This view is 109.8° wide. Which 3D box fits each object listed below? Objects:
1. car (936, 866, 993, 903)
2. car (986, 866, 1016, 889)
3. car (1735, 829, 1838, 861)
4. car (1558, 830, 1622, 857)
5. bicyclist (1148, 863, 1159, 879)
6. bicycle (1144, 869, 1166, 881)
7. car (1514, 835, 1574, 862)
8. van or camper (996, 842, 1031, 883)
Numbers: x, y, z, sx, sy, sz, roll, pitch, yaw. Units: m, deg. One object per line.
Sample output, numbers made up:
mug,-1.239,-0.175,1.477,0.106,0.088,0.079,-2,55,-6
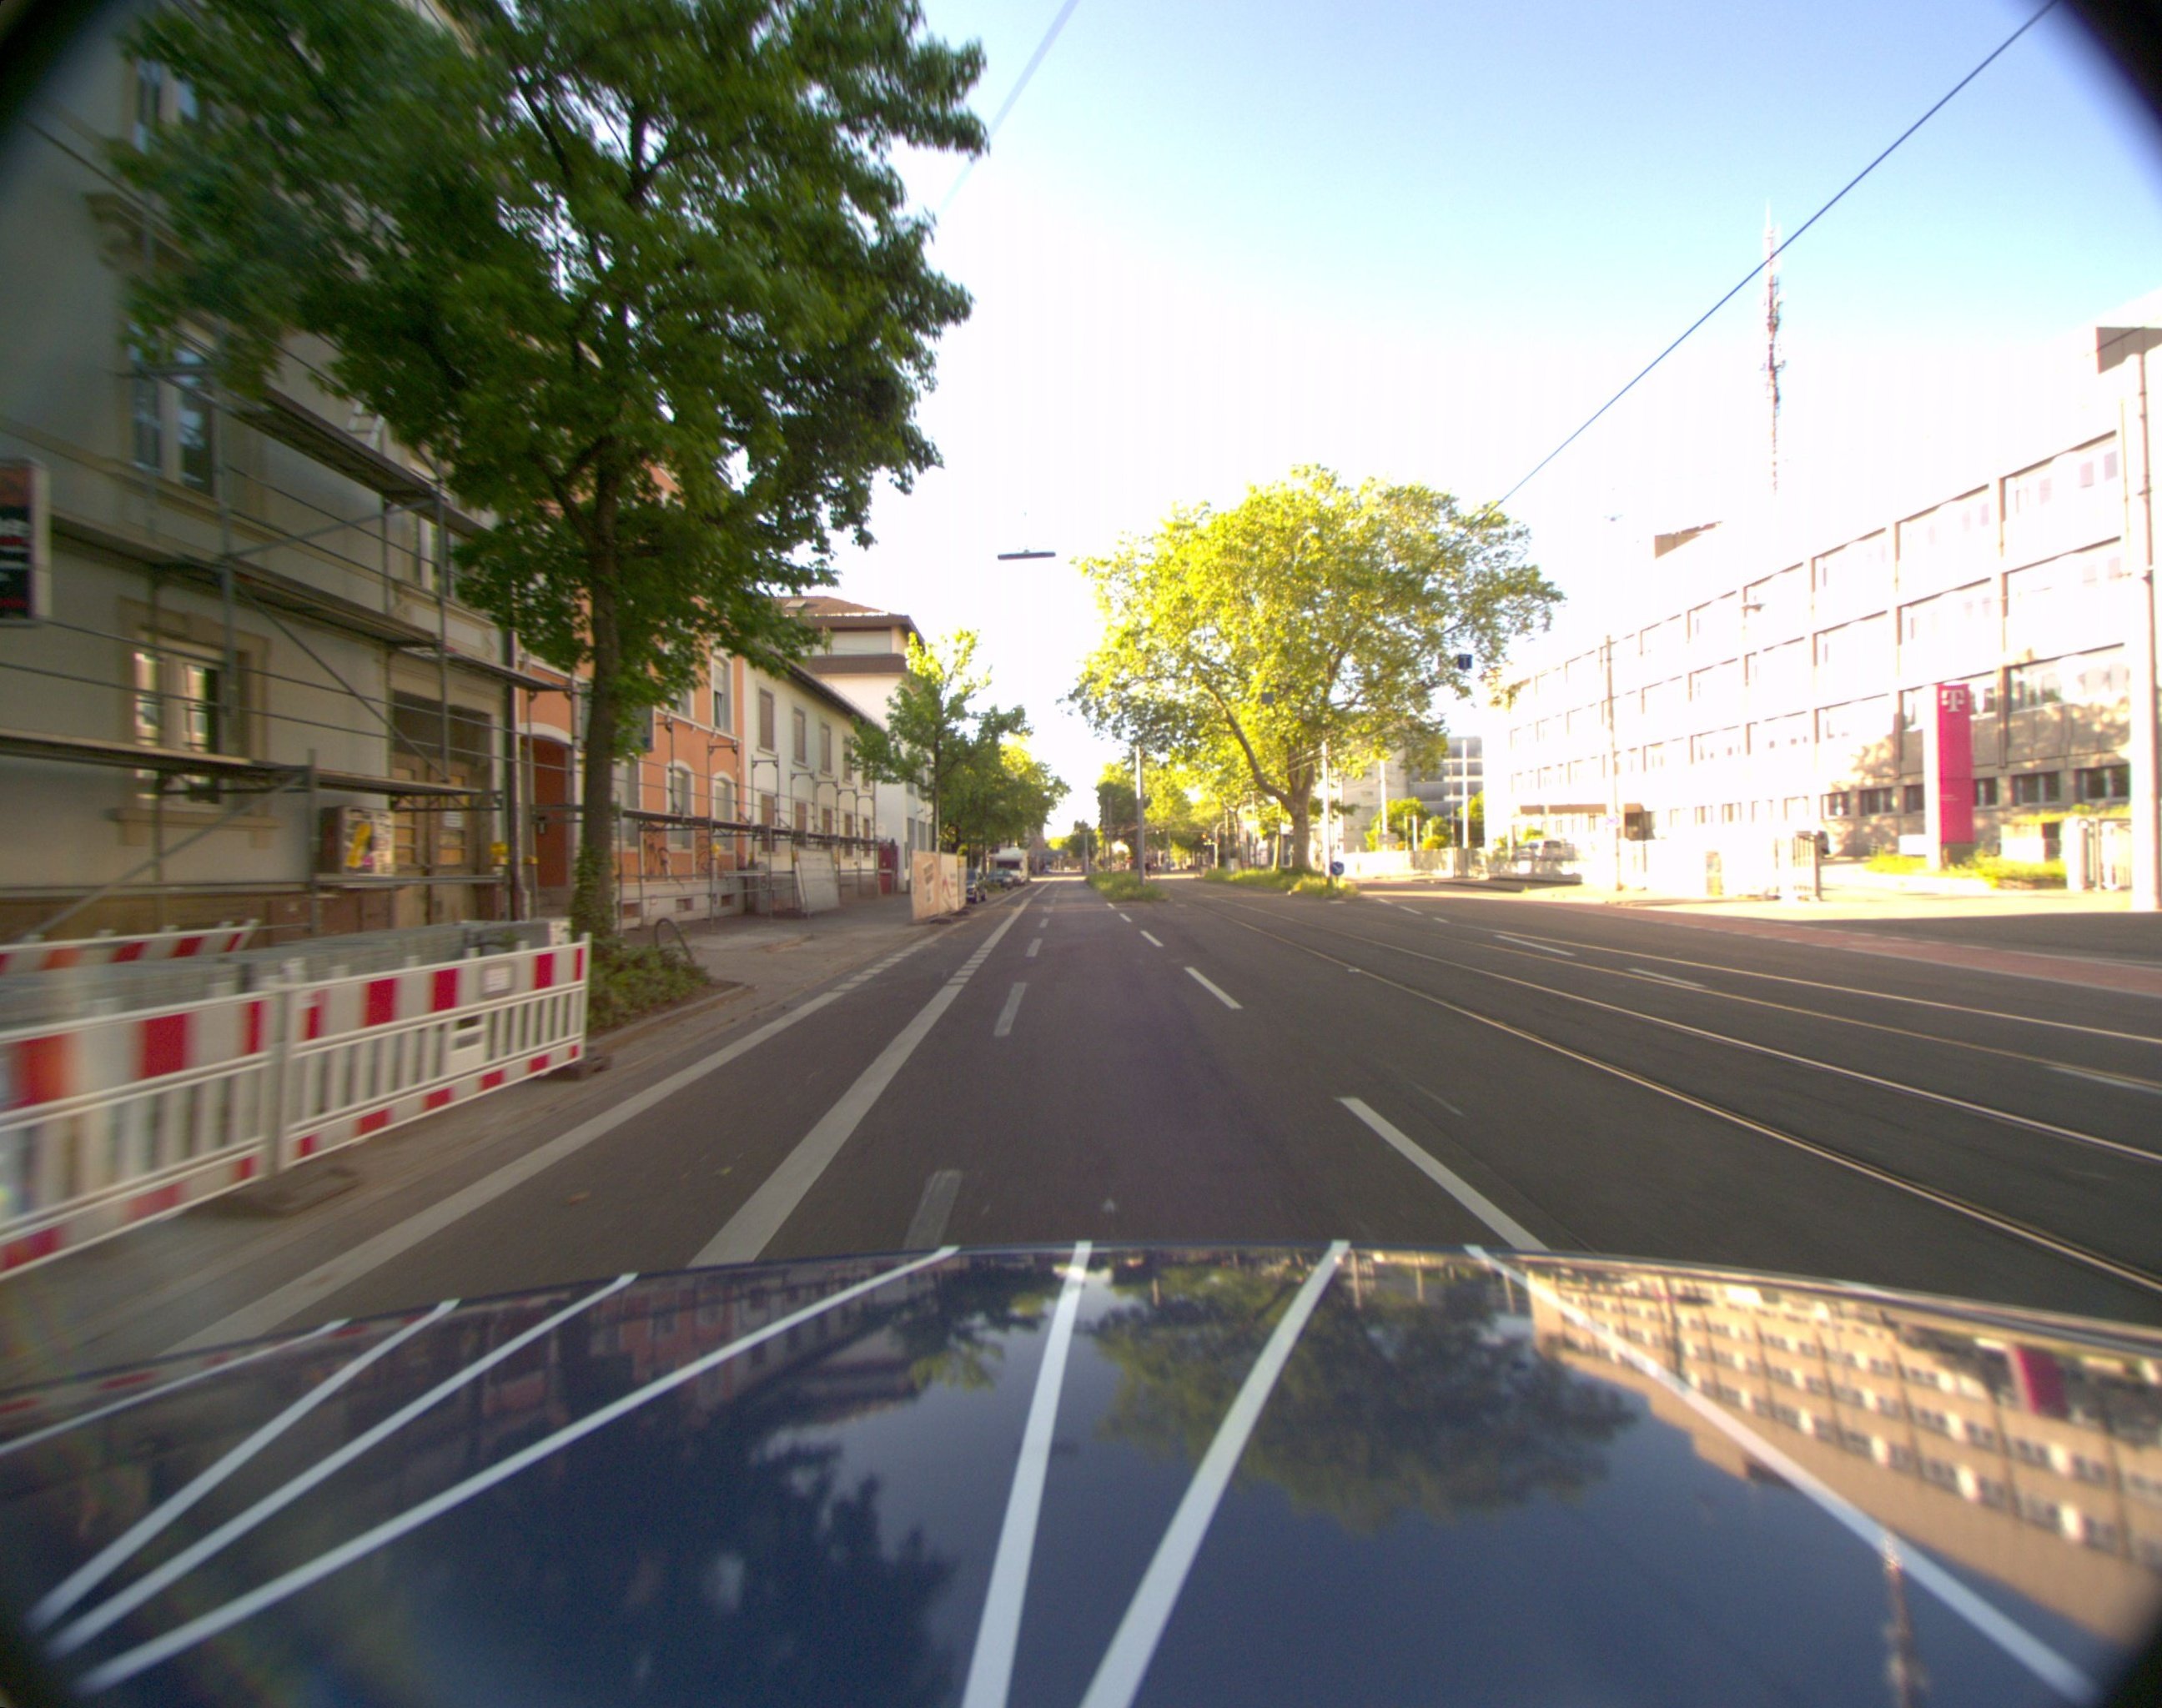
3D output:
car,-5.022,1.283,33.238,1.767,1.475,4.110,0,0,2
car,-5.273,1.502,50.340,1.656,1.439,3.800,0,0,-2
car,41.108,-0.513,44.347,4.278,1.709,1.853,-2,0,-1
car,36.275,-0.714,54.321,1.852,1.741,4.000,-2,0,0
bicyclist,6.988,1.625,73.290,1.007,1.567,0.760,-2,0,2
bicycle,7.106,2.000,73.278,2.082,1.121,0.760,-2,0,2
car,33.405,-0.376,54.976,1.852,1.807,4.000,-2,0,0
van or camper,-5.342,0.670,60.702,2.173,3.074,7.290,0,0,0
